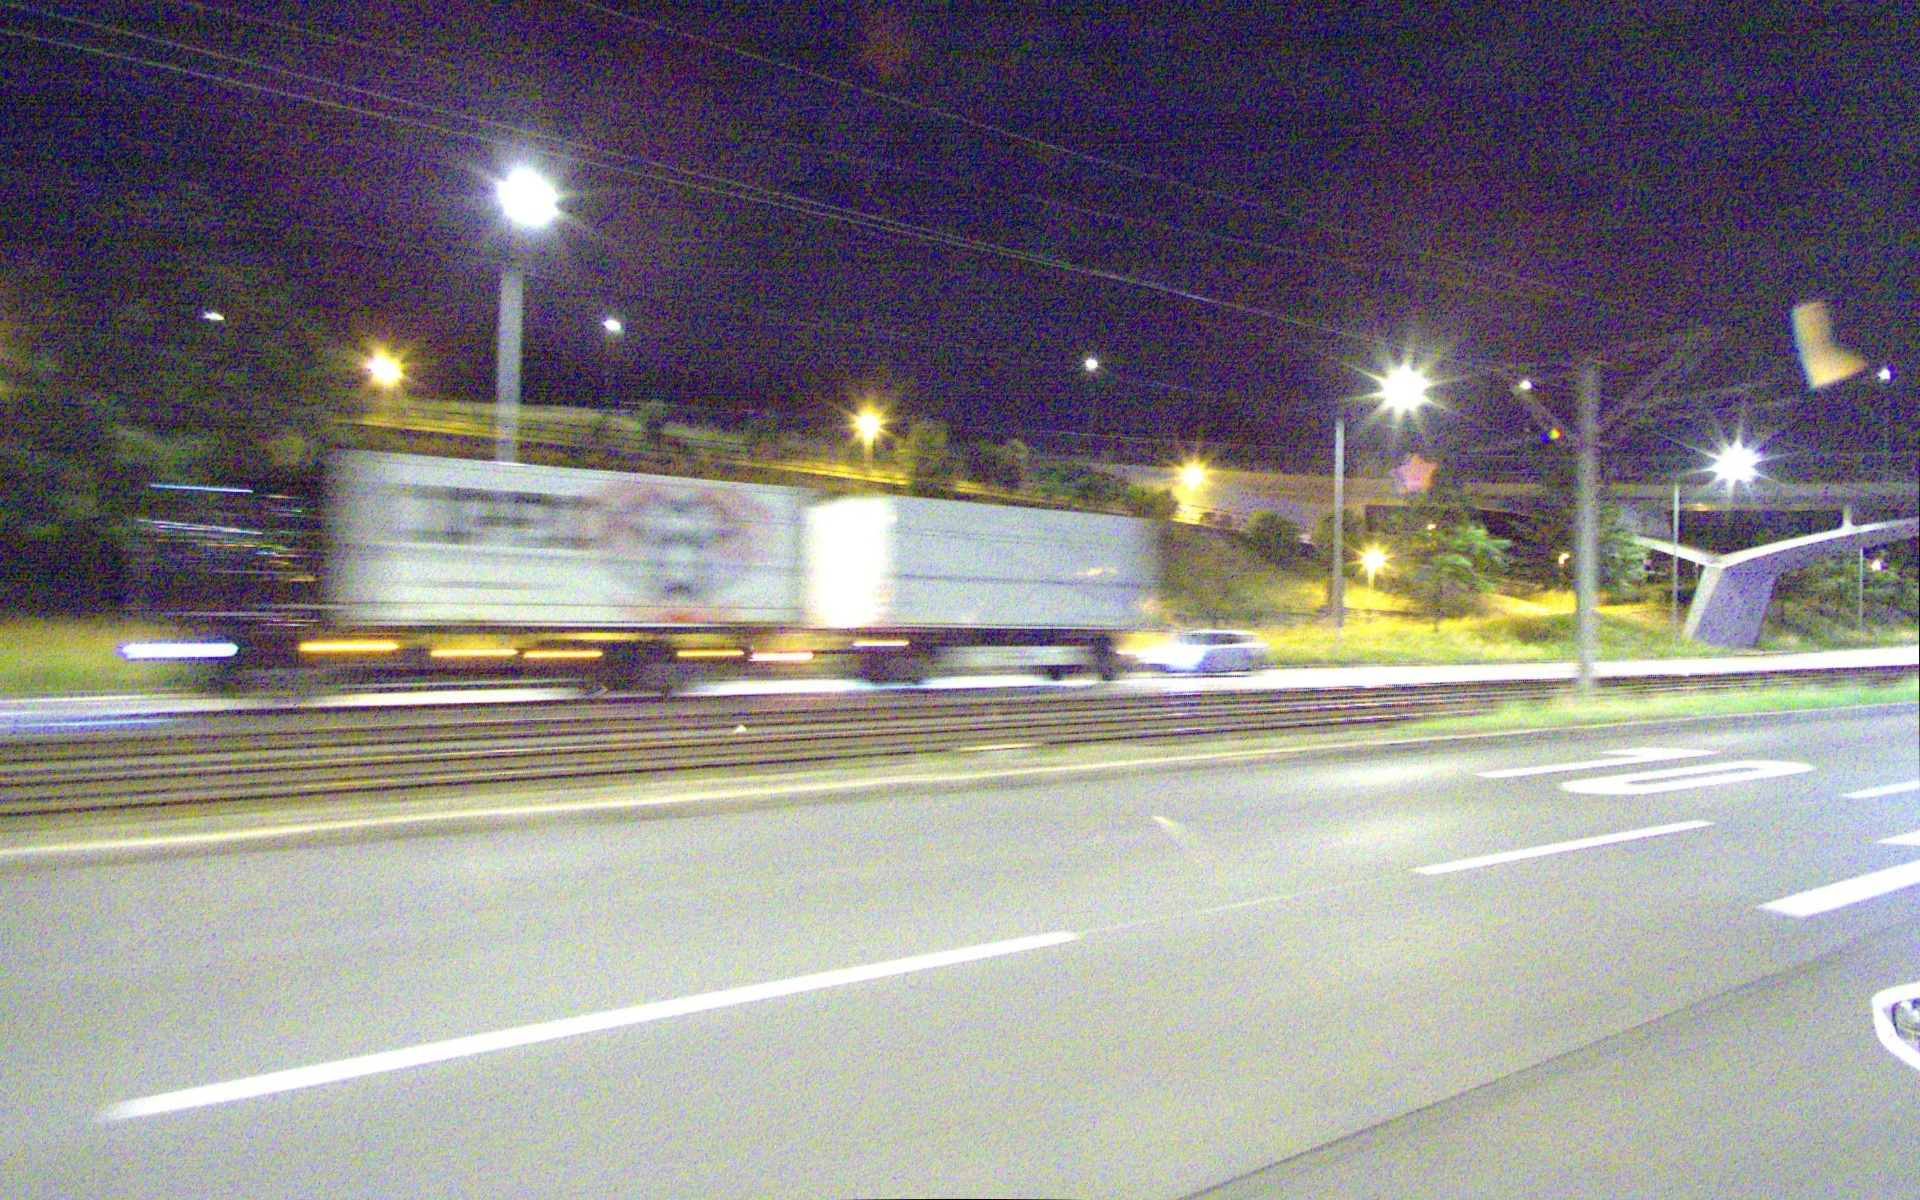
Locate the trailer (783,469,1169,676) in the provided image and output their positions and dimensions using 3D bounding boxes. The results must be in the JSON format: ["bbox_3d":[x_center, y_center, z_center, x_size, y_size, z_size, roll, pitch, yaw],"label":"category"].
[{"bbox_3d":[0.498,-0.441,23.484,8.303,4.043,3.675,2,0,-32],"label":"trailer"}]

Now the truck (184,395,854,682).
[{"bbox_3d":[-7.415,-0.734,18.393,10.308,4.007,3.660,2,0,-33],"label":"truck"}]

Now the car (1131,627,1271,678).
[{"bbox_3d":[7.640,1.648,31.782,4.157,1.500,1.976,2,-3,-32],"label":"car"}]
